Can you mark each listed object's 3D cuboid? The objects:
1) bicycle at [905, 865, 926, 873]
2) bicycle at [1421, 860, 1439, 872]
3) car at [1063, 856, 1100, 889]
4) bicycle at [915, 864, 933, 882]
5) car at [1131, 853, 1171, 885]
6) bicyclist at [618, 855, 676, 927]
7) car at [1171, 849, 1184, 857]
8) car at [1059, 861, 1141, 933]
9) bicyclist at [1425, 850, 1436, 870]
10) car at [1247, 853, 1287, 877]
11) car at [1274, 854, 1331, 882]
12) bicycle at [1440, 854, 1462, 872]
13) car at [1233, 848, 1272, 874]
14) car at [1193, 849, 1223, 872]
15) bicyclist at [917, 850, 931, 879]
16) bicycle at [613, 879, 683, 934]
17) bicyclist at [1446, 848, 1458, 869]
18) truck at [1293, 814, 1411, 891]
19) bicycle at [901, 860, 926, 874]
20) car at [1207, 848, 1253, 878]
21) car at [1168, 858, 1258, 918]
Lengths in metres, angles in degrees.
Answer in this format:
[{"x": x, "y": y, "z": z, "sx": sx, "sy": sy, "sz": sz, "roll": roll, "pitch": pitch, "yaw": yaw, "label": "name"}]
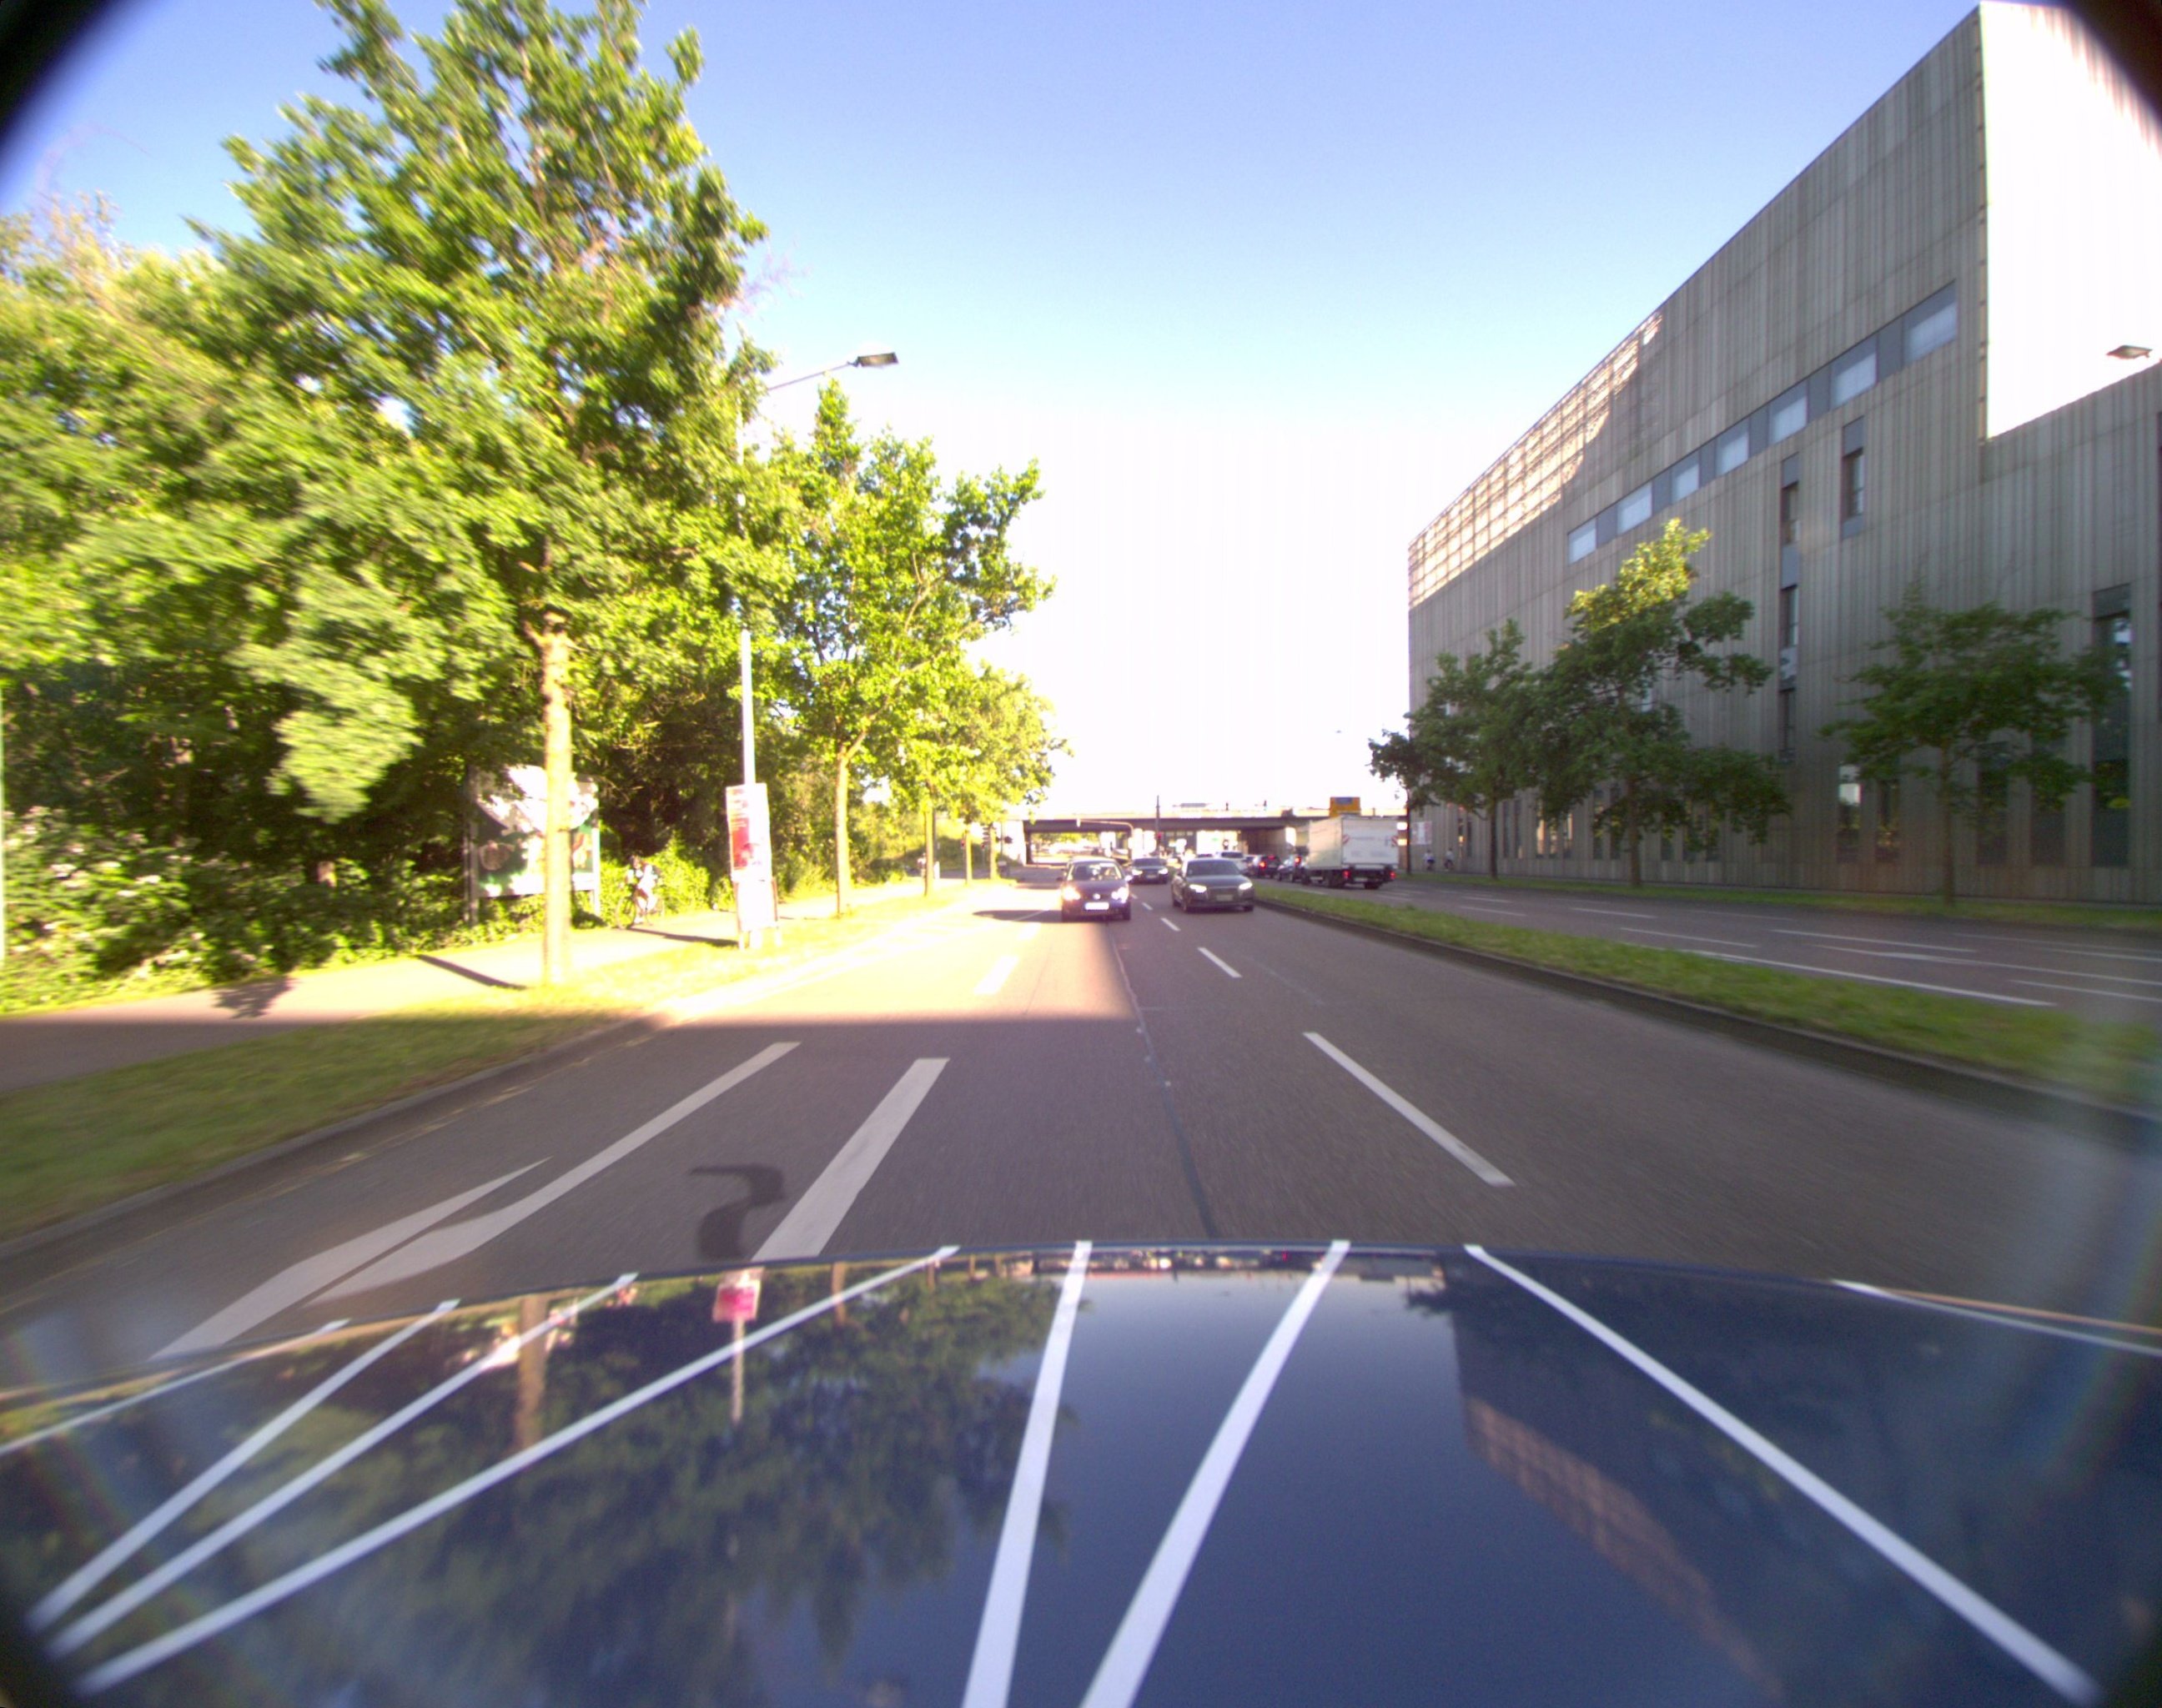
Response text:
[{"x": -12.749, "y": 1.161, "z": 58.625, "sx": 0.844, "sy": 0.618, "sz": 2.190, "roll": 1, "pitch": -1, "yaw": -34, "label": "bicycle"}, {"x": 25.244, "y": 0.865, "z": 54.983, "sx": 0.513, "sy": 0.885, "sz": 1.754, "roll": 0, "pitch": 0, "yaw": 0, "label": "bicycle"}, {"x": 0.028, "y": 0.853, "z": 37.498, "sx": 1.702, "sy": 1.478, "sz": 3.946, "roll": -1, "pitch": 1, "yaw": 0, "label": "car"}, {"x": -9.066, "y": 1.093, "z": 43.960, "sx": 0.573, "sy": 0.986, "sz": 2.046, "roll": -1, "pitch": 0, "yaw": 0, "label": "bicycle"}, {"x": 3.638, "y": 0.758, "z": 40.062, "sx": 1.702, "sy": 1.528, "sz": 3.946, "roll": -1, "pitch": 1, "yaw": 0, "label": "car"}, {"x": -9.535, "y": 0.783, "z": 16.722, "sx": 0.687, "sy": 1.513, "sz": 1.035, "roll": -1, "pitch": 1, "yaw": -3, "label": "bicyclist"}, {"x": 16.866, "y": -0.233, "z": 132.921, "sx": 1.707, "sy": 1.433, "sz": 4.880, "roll": 1, "pitch": 1, "yaw": 0, "label": "car"}, {"x": 0.399, "y": 0.923, "z": 18.134, "sx": 1.702, "sy": 1.474, "sz": 4.052, "roll": -2, "pitch": 0, "yaw": 0, "label": "car"}, {"x": 25.241, "y": 0.407, "z": 54.881, "sx": 0.509, "sy": 1.434, "sz": 0.753, "roll": 0, "pitch": 1, "yaw": 0, "label": "bicyclist"}, {"x": 11.587, "y": 0.666, "z": 47.559, "sx": 1.624, "sy": 1.461, "sz": 3.640, "roll": 1, "pitch": 0, "yaw": 1, "label": "car"}, {"x": 11.661, "y": 0.711, "z": 40.195, "sx": 1.840, "sy": 1.415, "sz": 4.000, "roll": 1, "pitch": 0, "yaw": 0, "label": "car"}, {"x": 26.416, "y": 0.621, "z": 54.291, "sx": 0.513, "sy": 1.262, "sz": 2.099, "roll": 0, "pitch": 0, "yaw": 0, "label": "bicycle"}, {"x": 11.932, "y": 0.461, "z": 52.946, "sx": 1.846, "sy": 1.646, "sz": 3.999, "roll": 0, "pitch": 1, "yaw": 1, "label": "car"}, {"x": 8.927, "y": 0.458, "z": 53.539, "sx": 1.605, "sy": 1.571, "sz": 3.212, "roll": 1, "pitch": 1, "yaw": 1, "label": "car"}, {"x": -9.051, "y": 0.600, "z": 43.834, "sx": 0.566, "sy": 1.600, "sz": 0.865, "roll": -1, "pitch": 1, "yaw": 0, "label": "bicyclist"}, {"x": -9.549, "y": 1.129, "z": 16.831, "sx": 0.517, "sy": 1.066, "sz": 1.935, "roll": -1, "pitch": 1, "yaw": -3, "label": "bicycle"}, {"x": 26.415, "y": 0.313, "z": 54.119, "sx": 0.508, "sy": 1.498, "sz": 0.645, "roll": 0, "pitch": 1, "yaw": 0, "label": "bicyclist"}, {"x": 11.589, "y": -0.084, "z": 33.295, "sx": 2.693, "sy": 2.943, "sz": 7.114, "roll": 1, "pitch": 0, "yaw": 1, "label": "truck"}, {"x": -13.404, "y": 1.051, "z": 60.790, "sx": 1.992, "sy": 1.047, "sz": 0.455, "roll": -1, "pitch": 1, "yaw": 13, "label": "bicycle"}, {"x": 8.823, "y": 0.516, "z": 45.442, "sx": 1.828, "sy": 1.672, "sz": 4.658, "roll": 1, "pitch": 1, "yaw": 0, "label": "car"}, {"x": 3.511, "y": 0.853, "z": 20.925, "sx": 1.702, "sy": 1.396, "sz": 4.364, "roll": -1, "pitch": 0, "yaw": 0, "label": "car"}]
